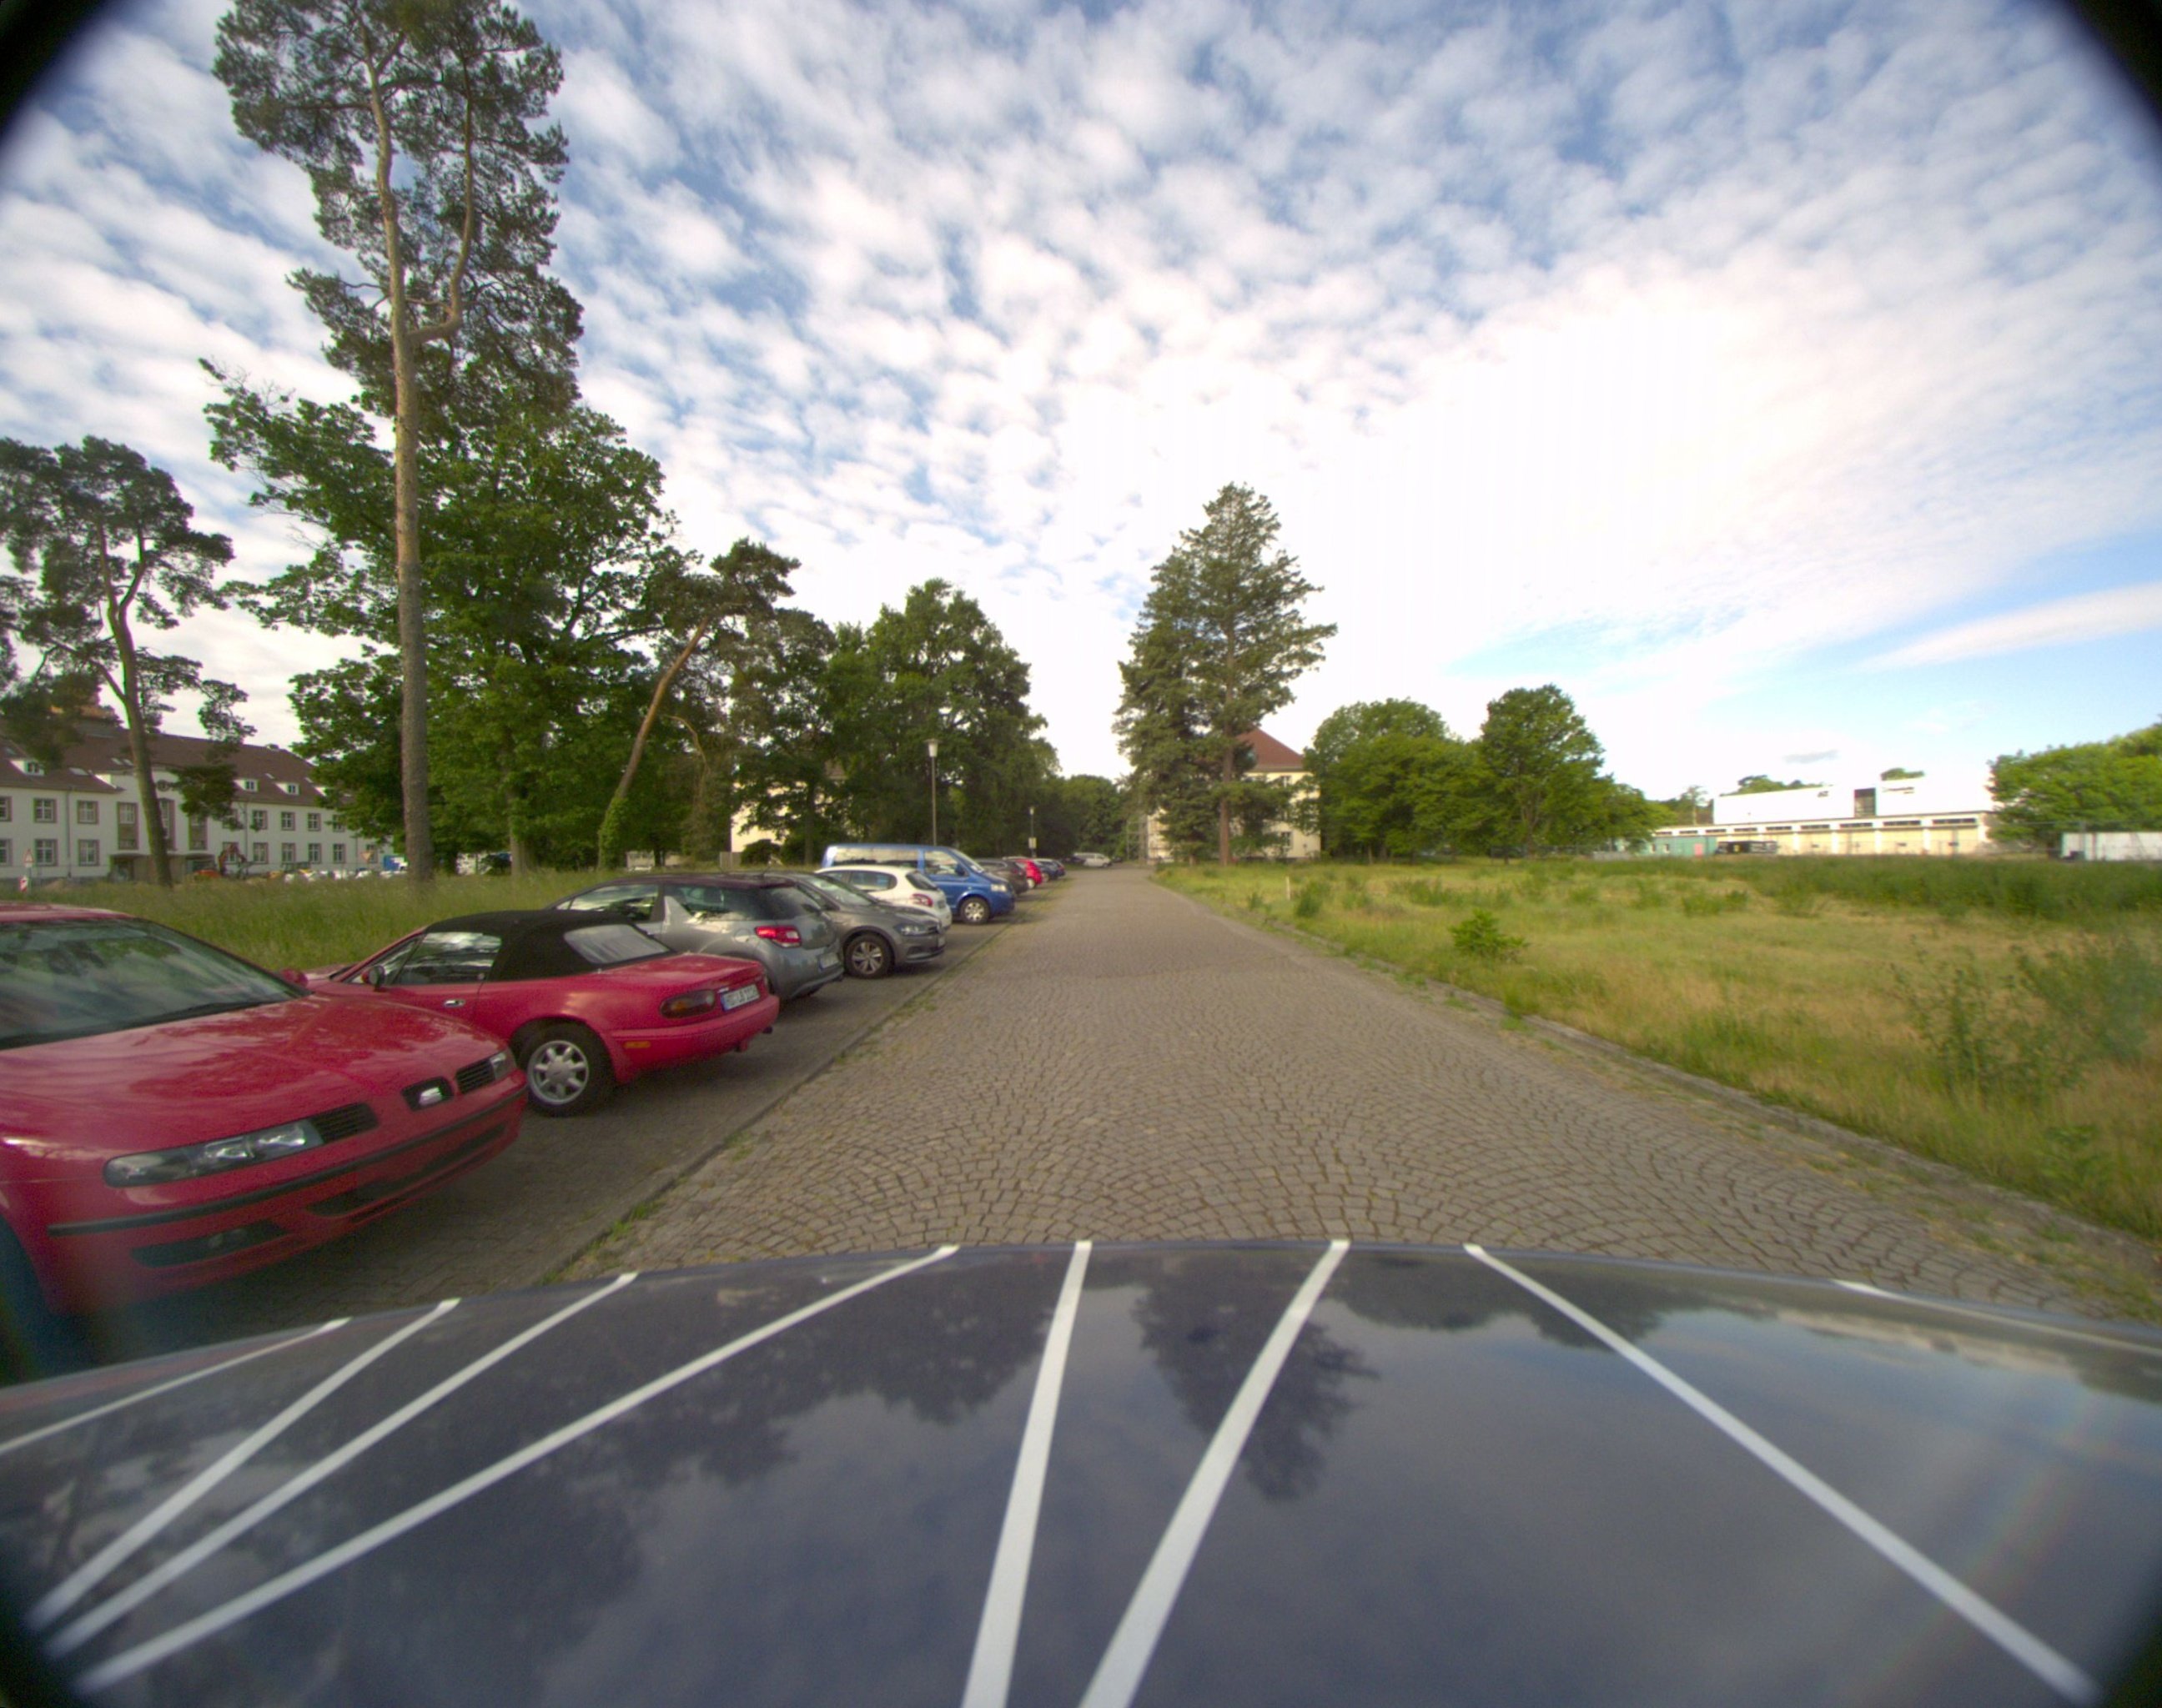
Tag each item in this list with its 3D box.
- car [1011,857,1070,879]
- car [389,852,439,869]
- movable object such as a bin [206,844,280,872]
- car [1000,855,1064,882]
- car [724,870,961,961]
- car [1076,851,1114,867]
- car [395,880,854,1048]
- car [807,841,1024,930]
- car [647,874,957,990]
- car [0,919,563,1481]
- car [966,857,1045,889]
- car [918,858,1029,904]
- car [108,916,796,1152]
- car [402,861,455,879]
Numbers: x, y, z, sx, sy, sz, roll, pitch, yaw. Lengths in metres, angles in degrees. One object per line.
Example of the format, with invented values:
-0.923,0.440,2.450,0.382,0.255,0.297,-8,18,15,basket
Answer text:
-2.817,0.980,53.395,3.835,1.520,1.674,-1,0,6,car
-79.294,0.734,90.383,2.217,2.002,4.002,-1,0,7,car
-87.200,0.416,79.165,1.999,2.752,5.202,-1,0,-3,movable object such as a bin
-3.109,0.927,48.640,3.835,1.609,1.582,-1,0,6,car
-4.216,1.072,13.785,3.761,1.490,1.581,-1,0,3,car
1.852,0.636,101.979,5.129,2.002,1.804,-1,0,0,car
-4.570,1.073,7.988,3.837,1.494,1.604,-1,0,1,car
-4.046,0.743,19.206,4.953,2.011,2.060,1,0,2,car
-3.832,1.055,10.845,3.780,1.457,1.643,-1,0,3,car
-4.716,1.064,3.038,4.117,1.415,1.720,-1,0,2,car
-3.742,0.953,38.222,3.838,1.516,1.581,-1,0,-2,car
-3.871,0.967,27.845,3.838,1.592,1.581,-1,0,-2,car
-4.101,1.148,5.348,3.554,1.279,1.608,-1,-1,3,car
-66.055,1.569,77.026,1.846,1.674,3.938,1,0,5,car
